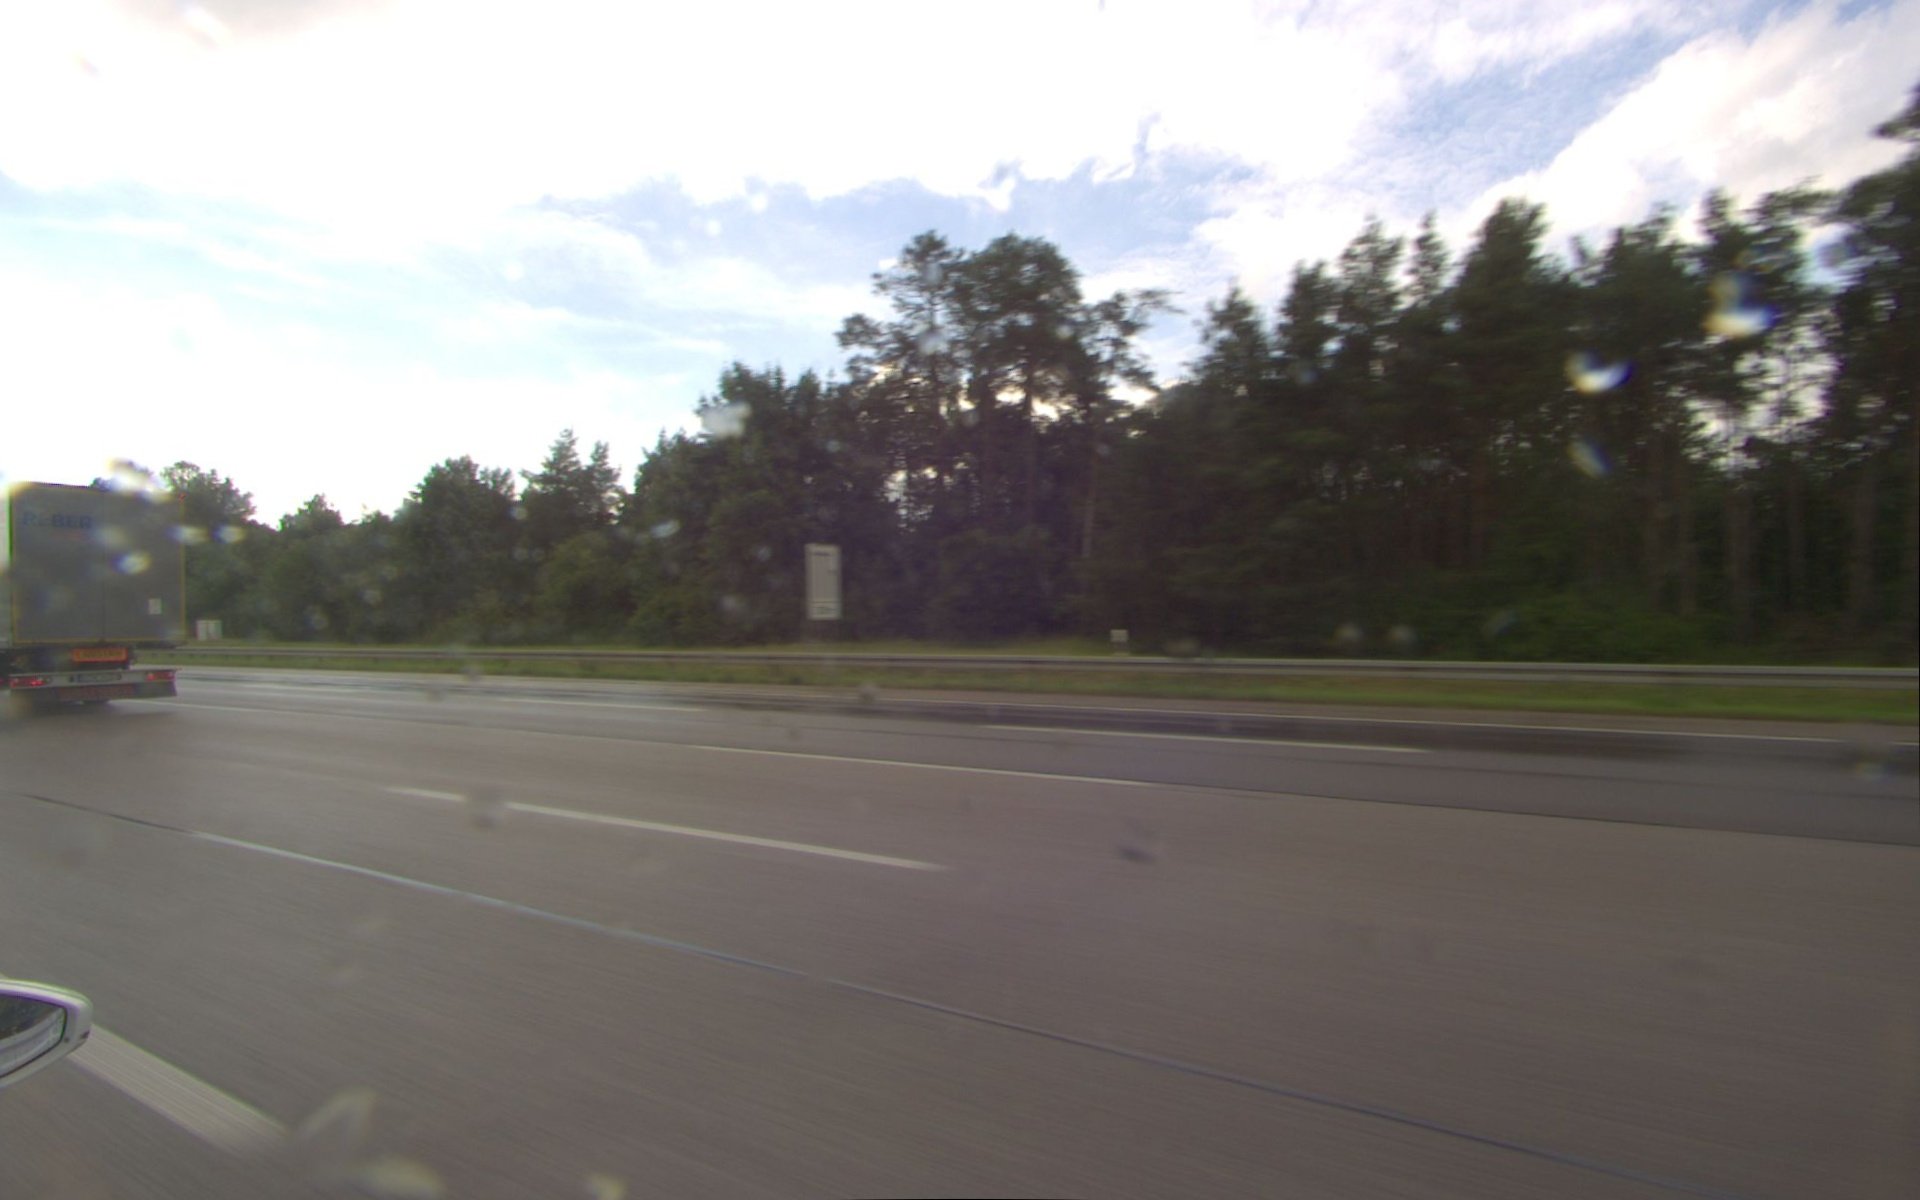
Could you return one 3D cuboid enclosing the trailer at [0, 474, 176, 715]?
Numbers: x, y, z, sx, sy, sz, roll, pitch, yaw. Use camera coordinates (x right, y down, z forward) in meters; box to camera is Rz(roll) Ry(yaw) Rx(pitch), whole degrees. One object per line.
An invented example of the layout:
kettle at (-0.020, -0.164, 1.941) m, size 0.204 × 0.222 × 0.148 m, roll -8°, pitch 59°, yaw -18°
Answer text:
trailer at (-20.977, 0.017, 21.339) m, size 13.217 × 4.053 × 2.320 m, roll -1°, pitch -1°, yaw 32°
